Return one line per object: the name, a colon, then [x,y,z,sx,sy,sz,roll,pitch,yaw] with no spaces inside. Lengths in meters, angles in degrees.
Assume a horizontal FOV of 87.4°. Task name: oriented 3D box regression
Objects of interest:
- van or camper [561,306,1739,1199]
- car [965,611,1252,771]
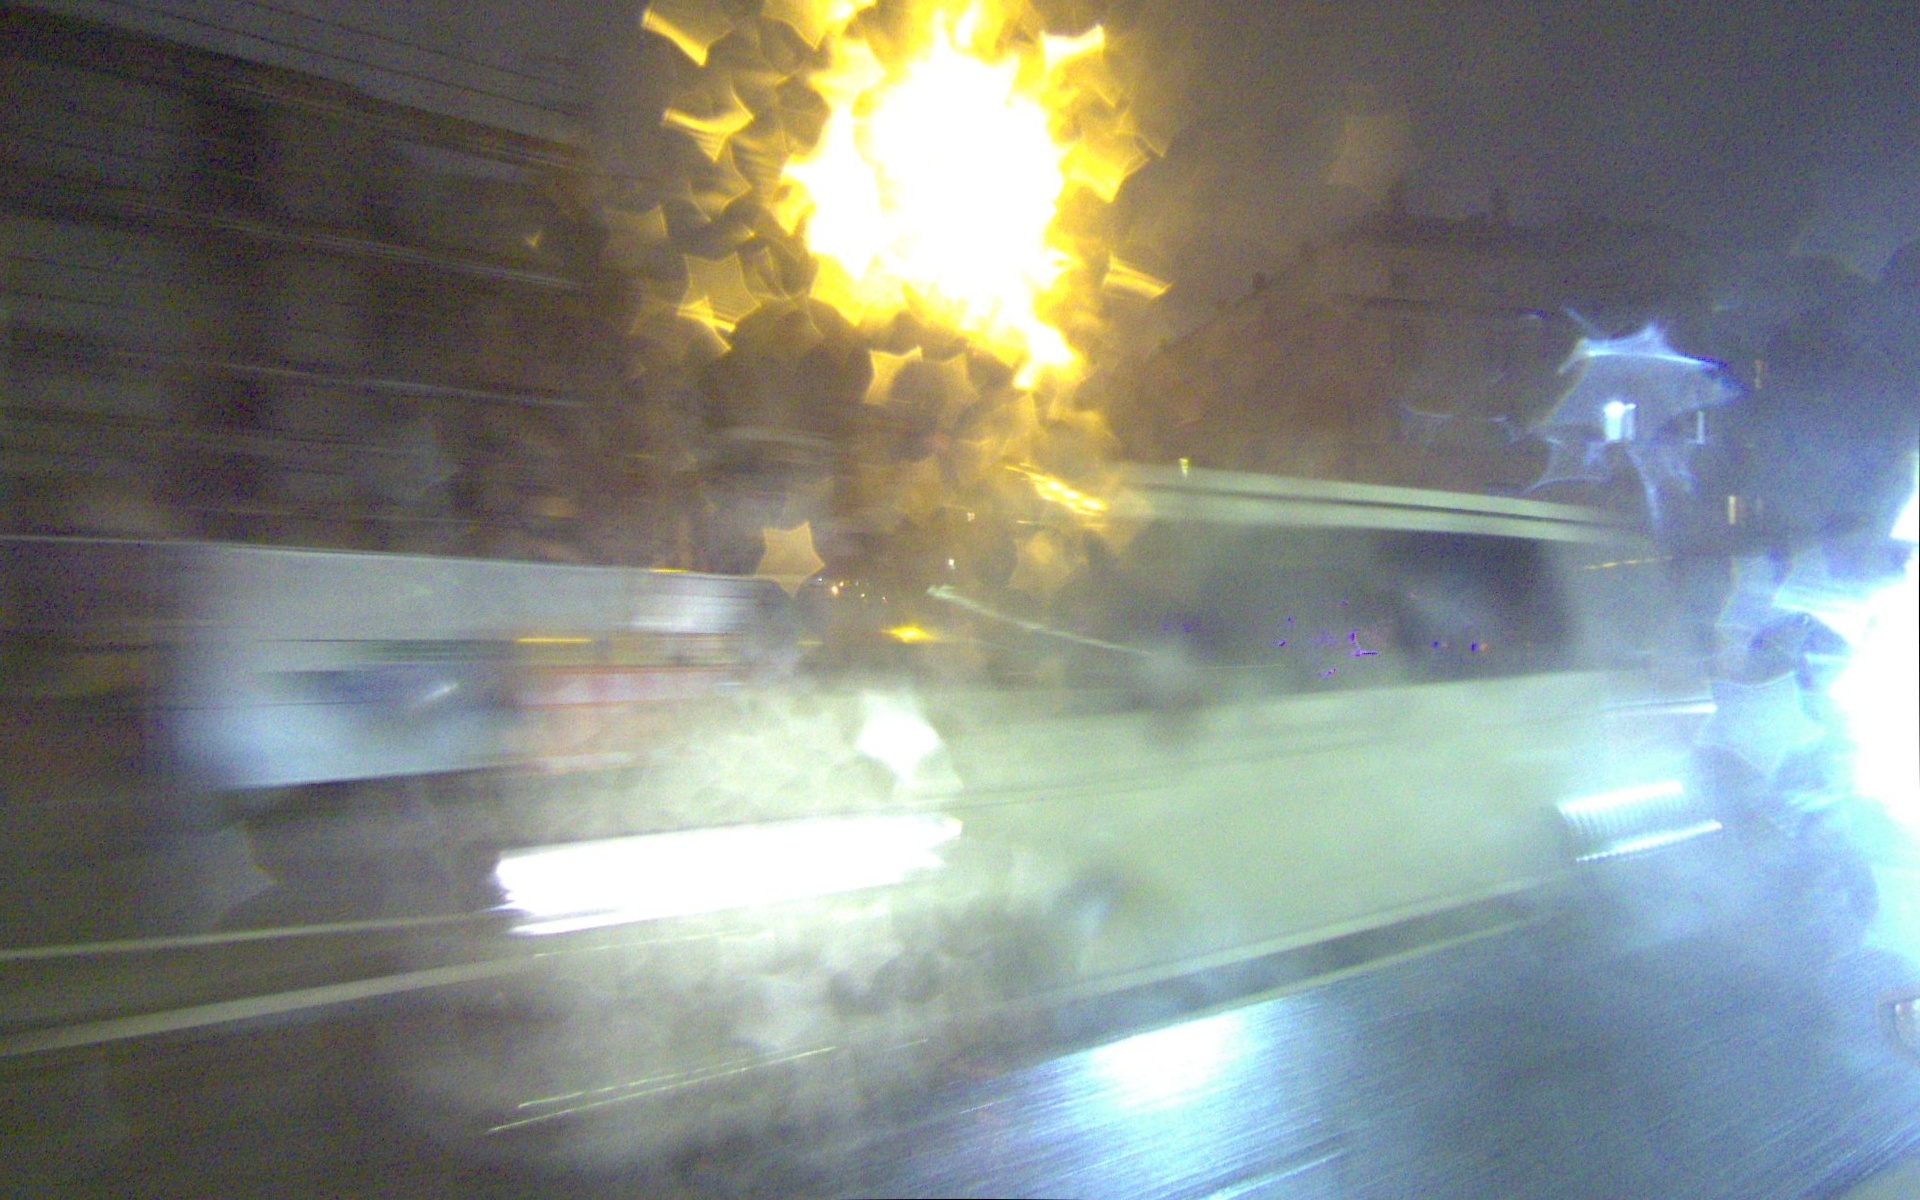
van or camper: [1.068,0.487,4.233,4.885,2.131,1.861,1,-1,-31]
car: [1.708,1.016,13.417,1.968,1.640,4.686,0,1,-17]
